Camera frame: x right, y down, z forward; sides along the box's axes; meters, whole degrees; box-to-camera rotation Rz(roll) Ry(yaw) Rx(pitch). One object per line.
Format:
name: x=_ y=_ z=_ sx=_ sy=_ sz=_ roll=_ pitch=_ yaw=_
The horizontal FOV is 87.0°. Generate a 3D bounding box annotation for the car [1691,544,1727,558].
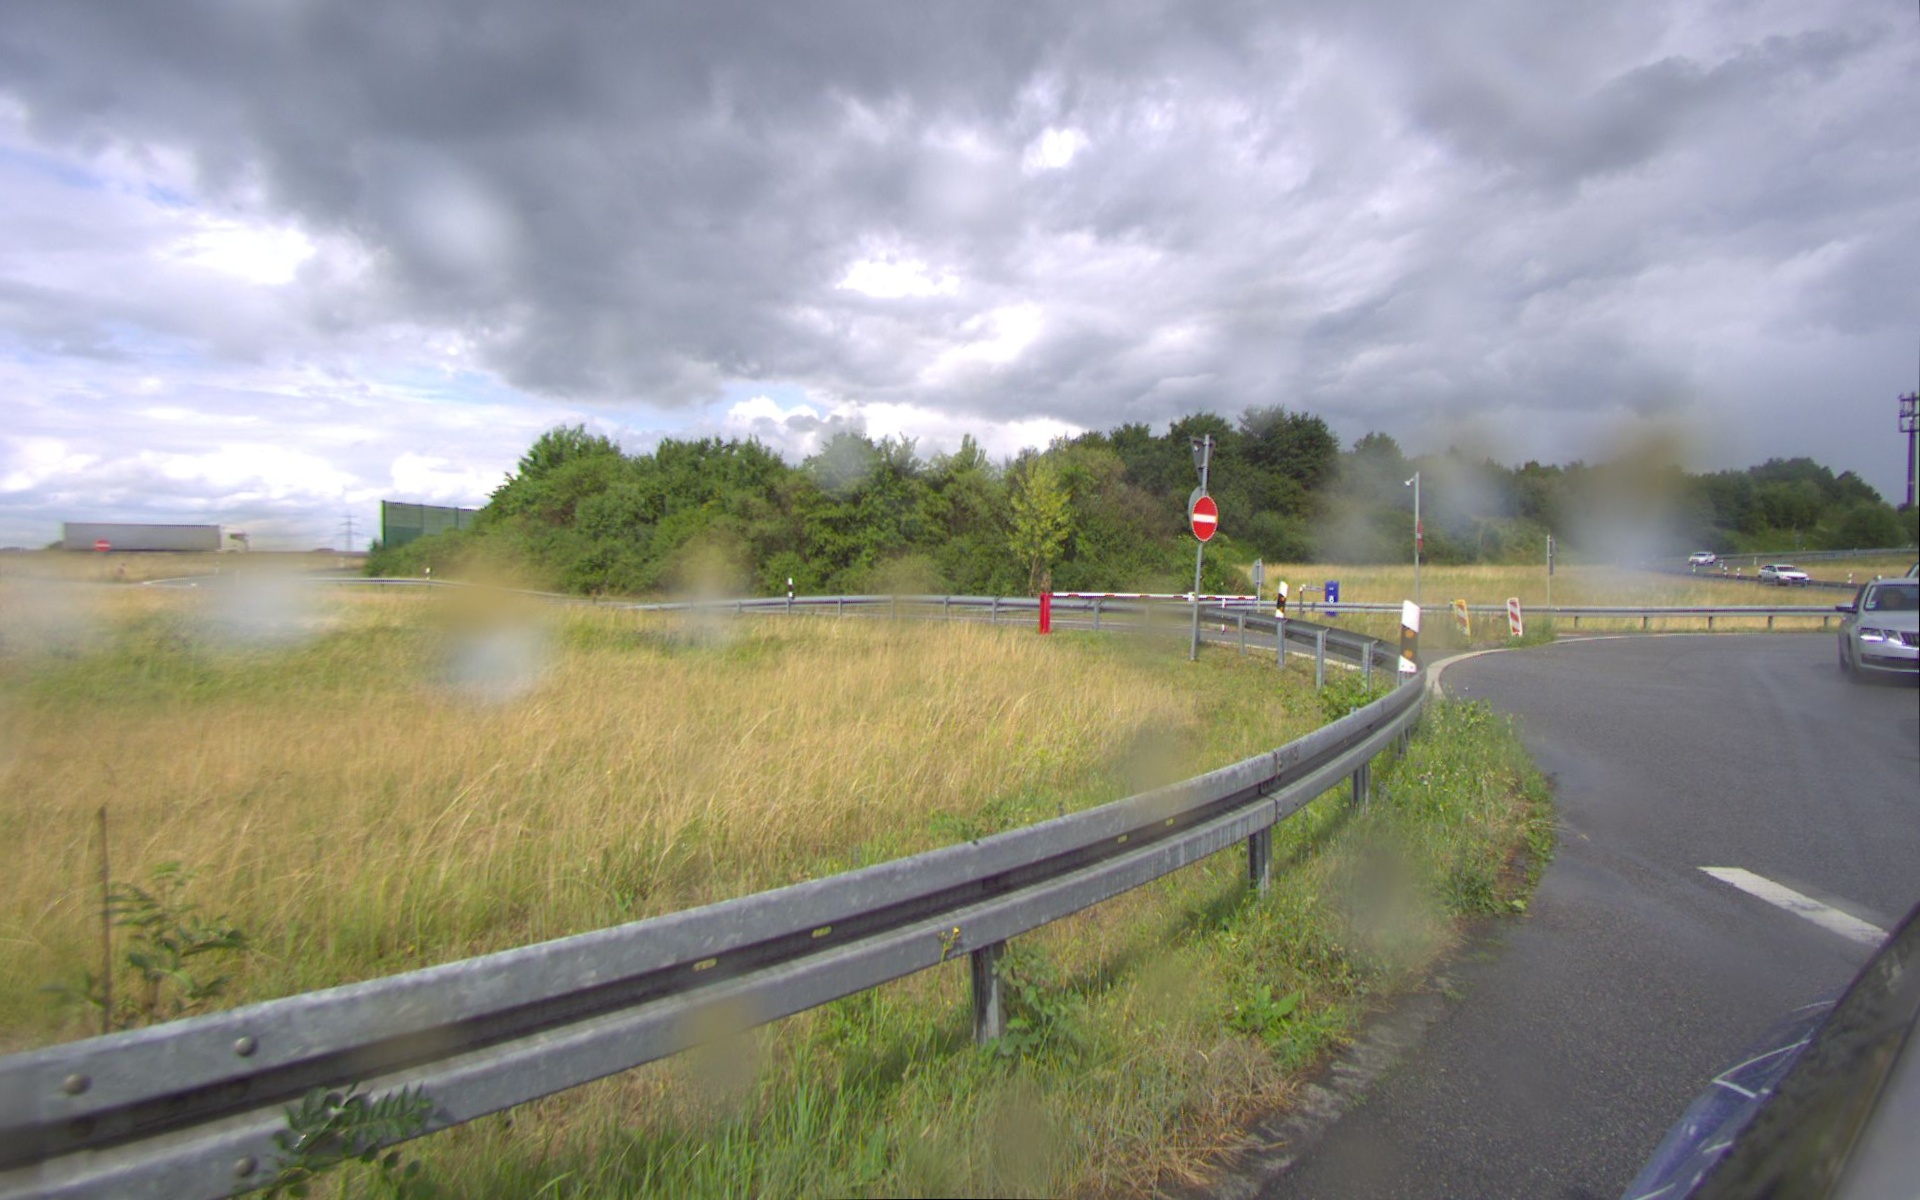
car: x=93.438 y=-6.070 z=126.222 sx=3.813 sy=1.664 sz=1.771 roll=-2 pitch=1 yaw=-19

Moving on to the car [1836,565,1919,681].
car: x=13.446 y=0.245 z=13.985 sx=1.790 sy=1.415 sz=4.289 roll=3 pitch=3 yaw=39

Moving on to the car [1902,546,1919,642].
car: x=22.140 y=-0.218 z=21.292 sx=5.570 sy=1.939 sz=1.895 roll=-2 pitch=1 yaw=-31

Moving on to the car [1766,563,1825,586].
car: x=60.582 y=-1.857 z=73.428 sx=1.952 sy=1.556 sz=3.906 roll=1 pitch=2 yaw=18
